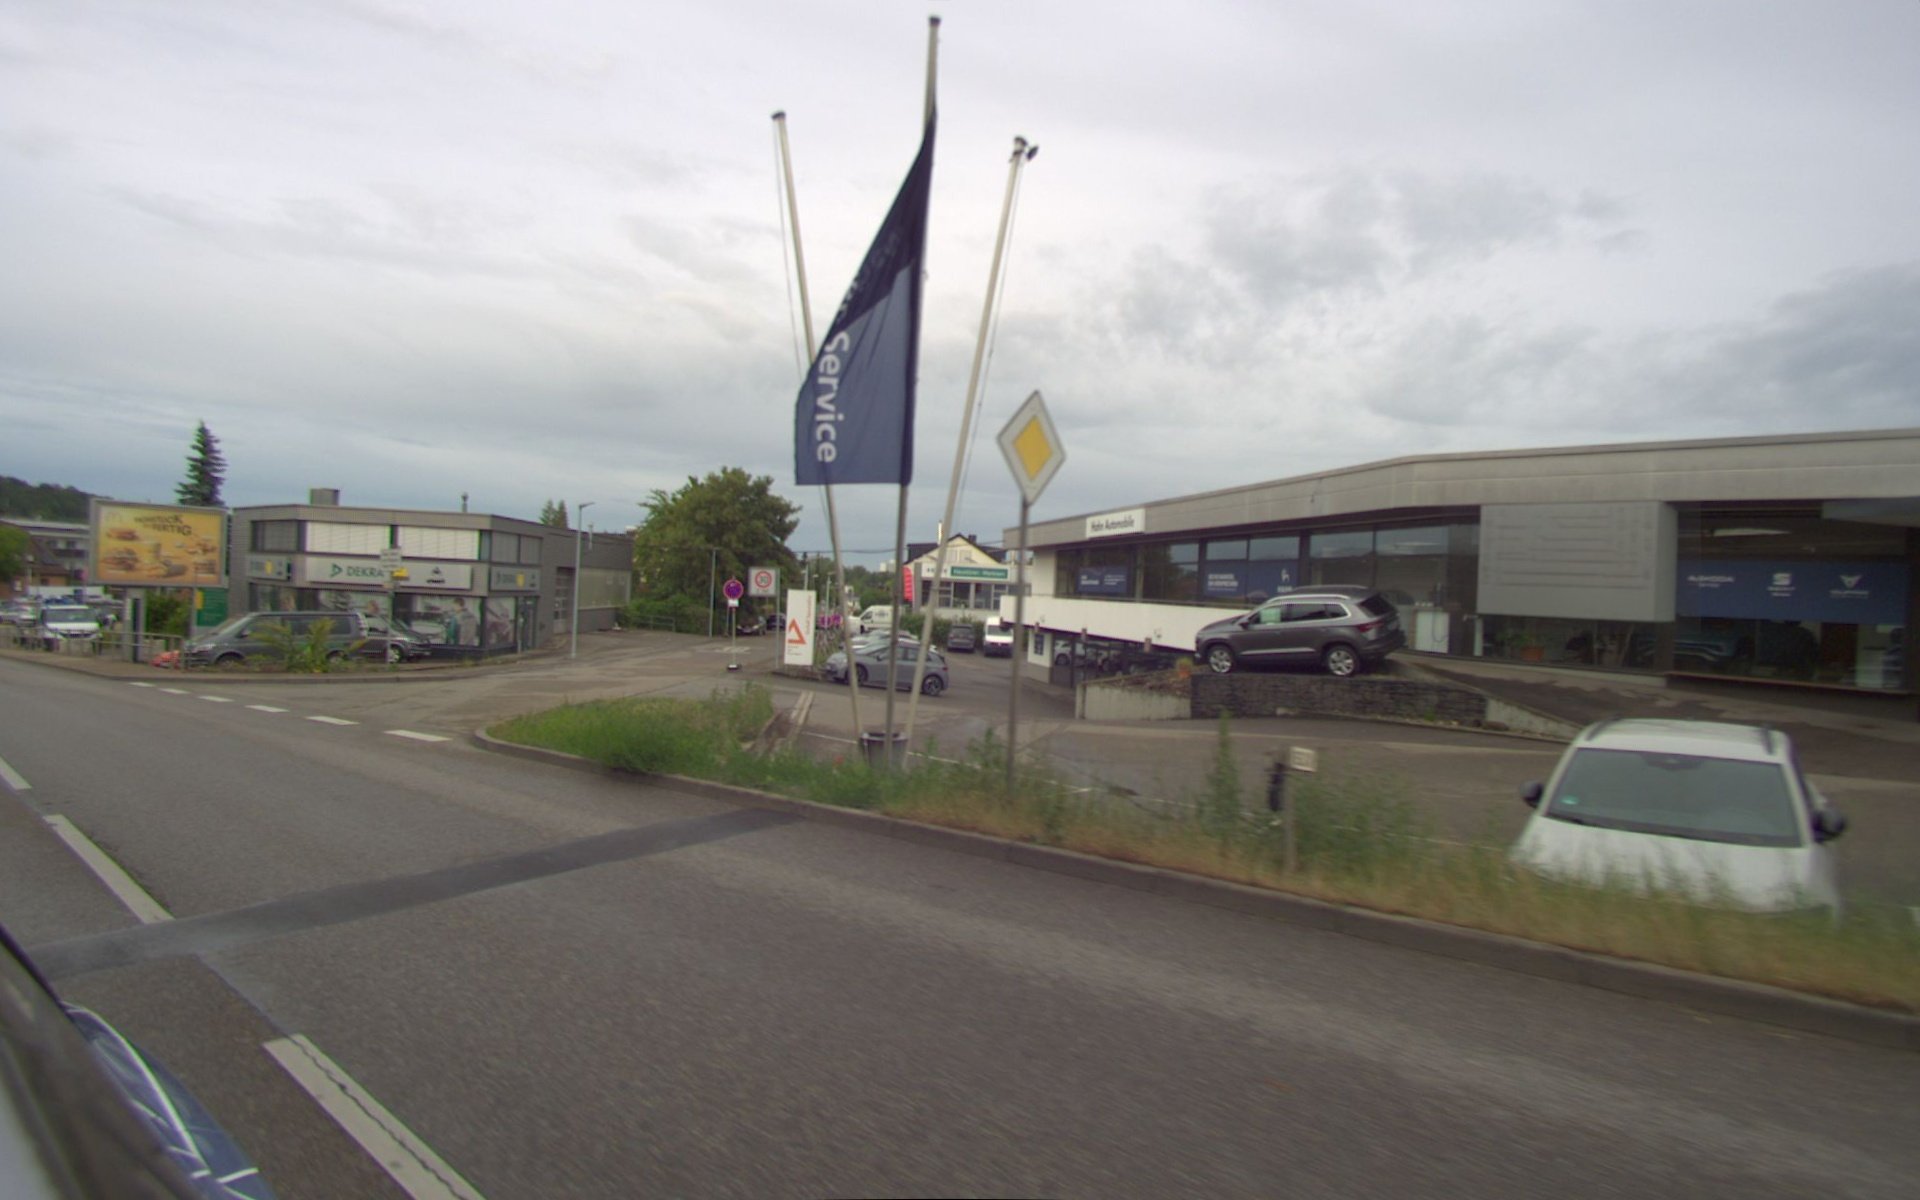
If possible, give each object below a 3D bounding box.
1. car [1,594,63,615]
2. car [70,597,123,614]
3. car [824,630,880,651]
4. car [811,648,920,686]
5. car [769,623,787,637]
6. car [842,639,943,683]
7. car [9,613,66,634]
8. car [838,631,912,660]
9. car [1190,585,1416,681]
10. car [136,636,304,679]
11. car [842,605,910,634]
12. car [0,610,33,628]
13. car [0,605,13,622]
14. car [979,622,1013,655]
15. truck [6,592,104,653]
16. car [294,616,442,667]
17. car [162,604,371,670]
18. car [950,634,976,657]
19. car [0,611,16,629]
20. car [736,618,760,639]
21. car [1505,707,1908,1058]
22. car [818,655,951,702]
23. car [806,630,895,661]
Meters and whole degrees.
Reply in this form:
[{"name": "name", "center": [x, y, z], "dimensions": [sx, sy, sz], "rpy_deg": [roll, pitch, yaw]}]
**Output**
[{"name": "car", "center": [-103.876, 0.482, 113.366], "dimensions": [2.025, 2.102, 5.253], "rpy_deg": [2, -2, 1]}, {"name": "car", "center": [-103.479, 0.698, 121.365], "dimensions": [2.025, 1.878, 4.920], "rpy_deg": [2, -2, 1]}, {"name": "car", "center": [-6.422, 2.432, 60.377], "dimensions": [3.010, 1.197, 1.386], "rpy_deg": [2, -2, -24]}, {"name": "car", "center": [-3.747, 2.637, 40.098], "dimensions": [3.921, 1.439, 1.785], "rpy_deg": [2, -2, -24]}, {"name": "car", "center": [-16.181, 2.641, 90.216], "dimensions": [1.360, 1.197, 3.067], "rpy_deg": [1, -2, -7]}, {"name": "car", "center": [-2.882, 2.589, 43.223], "dimensions": [3.921, 1.802, 1.826], "rpy_deg": [2, -2, -24]}, {"name": "car", "center": [-73.796, 1.868, 81.023], "dimensions": [1.760, 1.521, 4.056], "rpy_deg": [2, -1, -17]}, {"name": "car", "center": [-4.443, 2.378, 53.052], "dimensions": [3.530, 1.439, 1.588], "rpy_deg": [2, -2, -24]}, {"name": "car", "center": [7.017, 0.652, 21.029], "dimensions": [4.252, 1.814, 1.383], "rpy_deg": [0, -3, 44]}, {"name": "car", "center": [-24.113, 1.847, 33.121], "dimensions": [1.762, 1.277, 4.065], "rpy_deg": [0, -2, 28]}, {"name": "car", "center": [-7.301, 1.706, 87.927], "dimensions": [5.790, 2.387, 2.149], "rpy_deg": [1, 0, -3]}, {"name": "car", "center": [-81.983, 1.614, 86.423], "dimensions": [3.987, 1.463, 1.790], "rpy_deg": [2, -1, 0]}, {"name": "car", "center": [-89.772, 1.193, 92.961], "dimensions": [3.714, 1.562, 1.596], "rpy_deg": [2, -1, -9]}, {"name": "car", "center": [2.454, 2.617, 69.717], "dimensions": [1.971, 2.029, 5.880], "rpy_deg": [1, 0, -1]}, {"name": "truck", "center": [-42.174, 1.021, 47.084], "dimensions": [7.882, 2.653, 1.974], "rpy_deg": [0, -3, 38]}, {"name": "car", "center": [-23.807, 1.638, 40.850], "dimensions": [4.806, 2.002, 2.001], "rpy_deg": [0, -1, -2]}, {"name": "car", "center": [-21.406, 1.159, 31.474], "dimensions": [1.817, 1.885, 5.027], "rpy_deg": [0, -2, 32]}, {"name": "car", "center": [0.183, 3.101, 69.879], "dimensions": [1.511, 1.502, 3.066], "rpy_deg": [1, -2, -4]}, {"name": "car", "center": [-81.167, 1.599, 83.964], "dimensions": [3.987, 1.463, 1.790], "rpy_deg": [2, -1, 0]}, {"name": "car", "center": [-15.589, 2.100, 74.521], "dimensions": [1.384, 1.559, 3.219], "rpy_deg": [1, -2, -7]}, {"name": "car", "center": [5.366, 1.651, 7.256], "dimensions": [1.822, 1.489, 3.968], "rpy_deg": [-1, -3, 40]}, {"name": "car", "center": [-2.545, 2.617, 34.040], "dimensions": [4.034, 1.439, 1.896], "rpy_deg": [2, -2, -24]}, {"name": "car", "center": [-5.321, 2.213, 49.355], "dimensions": [3.921, 1.439, 1.850], "rpy_deg": [2, -2, -24]}]
